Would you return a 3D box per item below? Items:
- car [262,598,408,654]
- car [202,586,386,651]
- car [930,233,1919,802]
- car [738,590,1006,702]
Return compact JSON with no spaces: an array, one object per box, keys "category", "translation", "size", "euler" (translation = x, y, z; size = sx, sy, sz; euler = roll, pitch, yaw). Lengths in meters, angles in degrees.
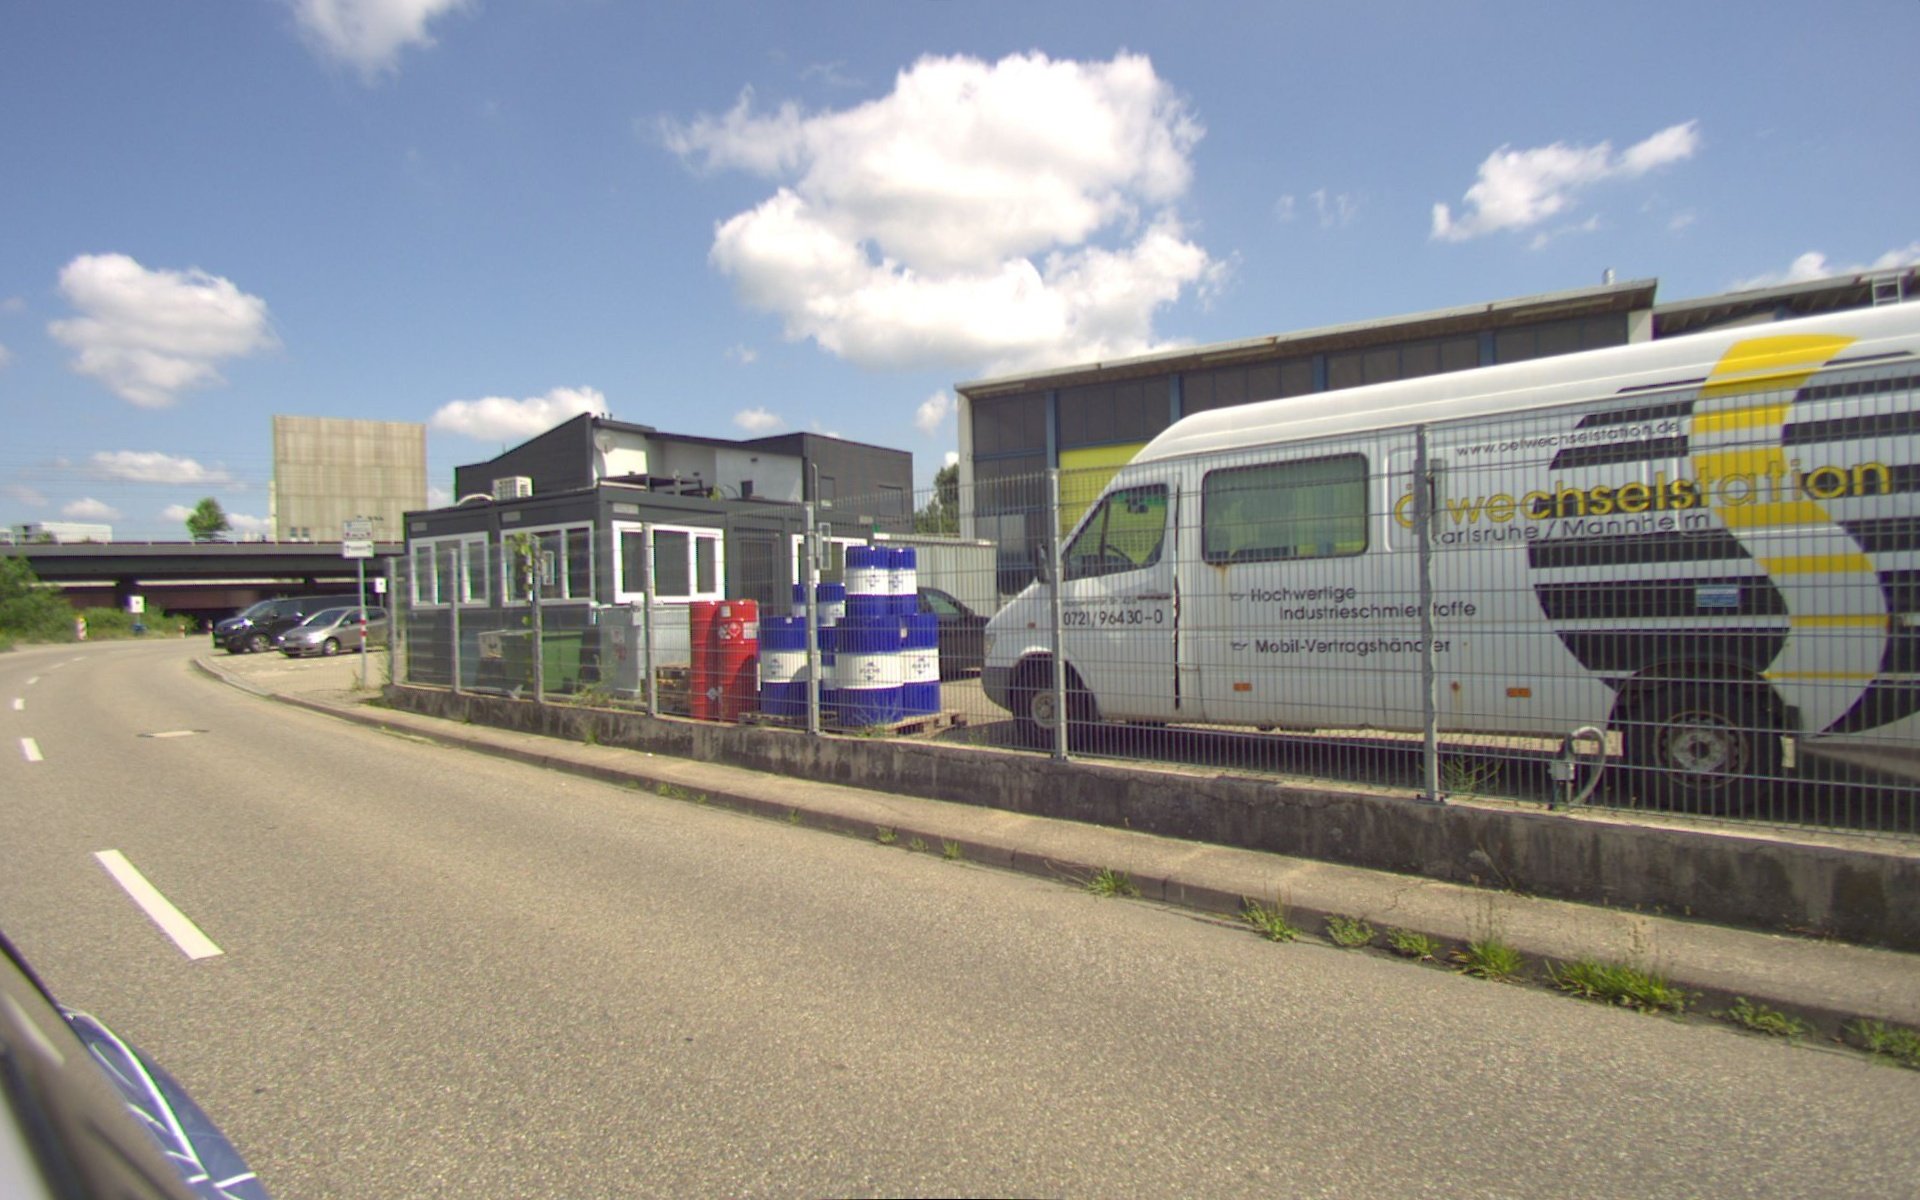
[{"category":"car","translation":[-19.718,0.776,32.100],"size":[1.780,1.487,3.678],"euler":[-2,2,15]},{"category":"car","translation":[-24.340,0.612,37.240],"size":[1.992,1.929,5.291],"euler":[-1,3,30]},{"category":"car","translation":[3.057,-0.332,6.870],"size":[6.707,2.556,2.099],"euler":[-1,0,38]},{"category":"car","translation":[-1.107,0.545,14.700],"size":[1.728,1.342,4.166],"euler":[2,1,32]}]
